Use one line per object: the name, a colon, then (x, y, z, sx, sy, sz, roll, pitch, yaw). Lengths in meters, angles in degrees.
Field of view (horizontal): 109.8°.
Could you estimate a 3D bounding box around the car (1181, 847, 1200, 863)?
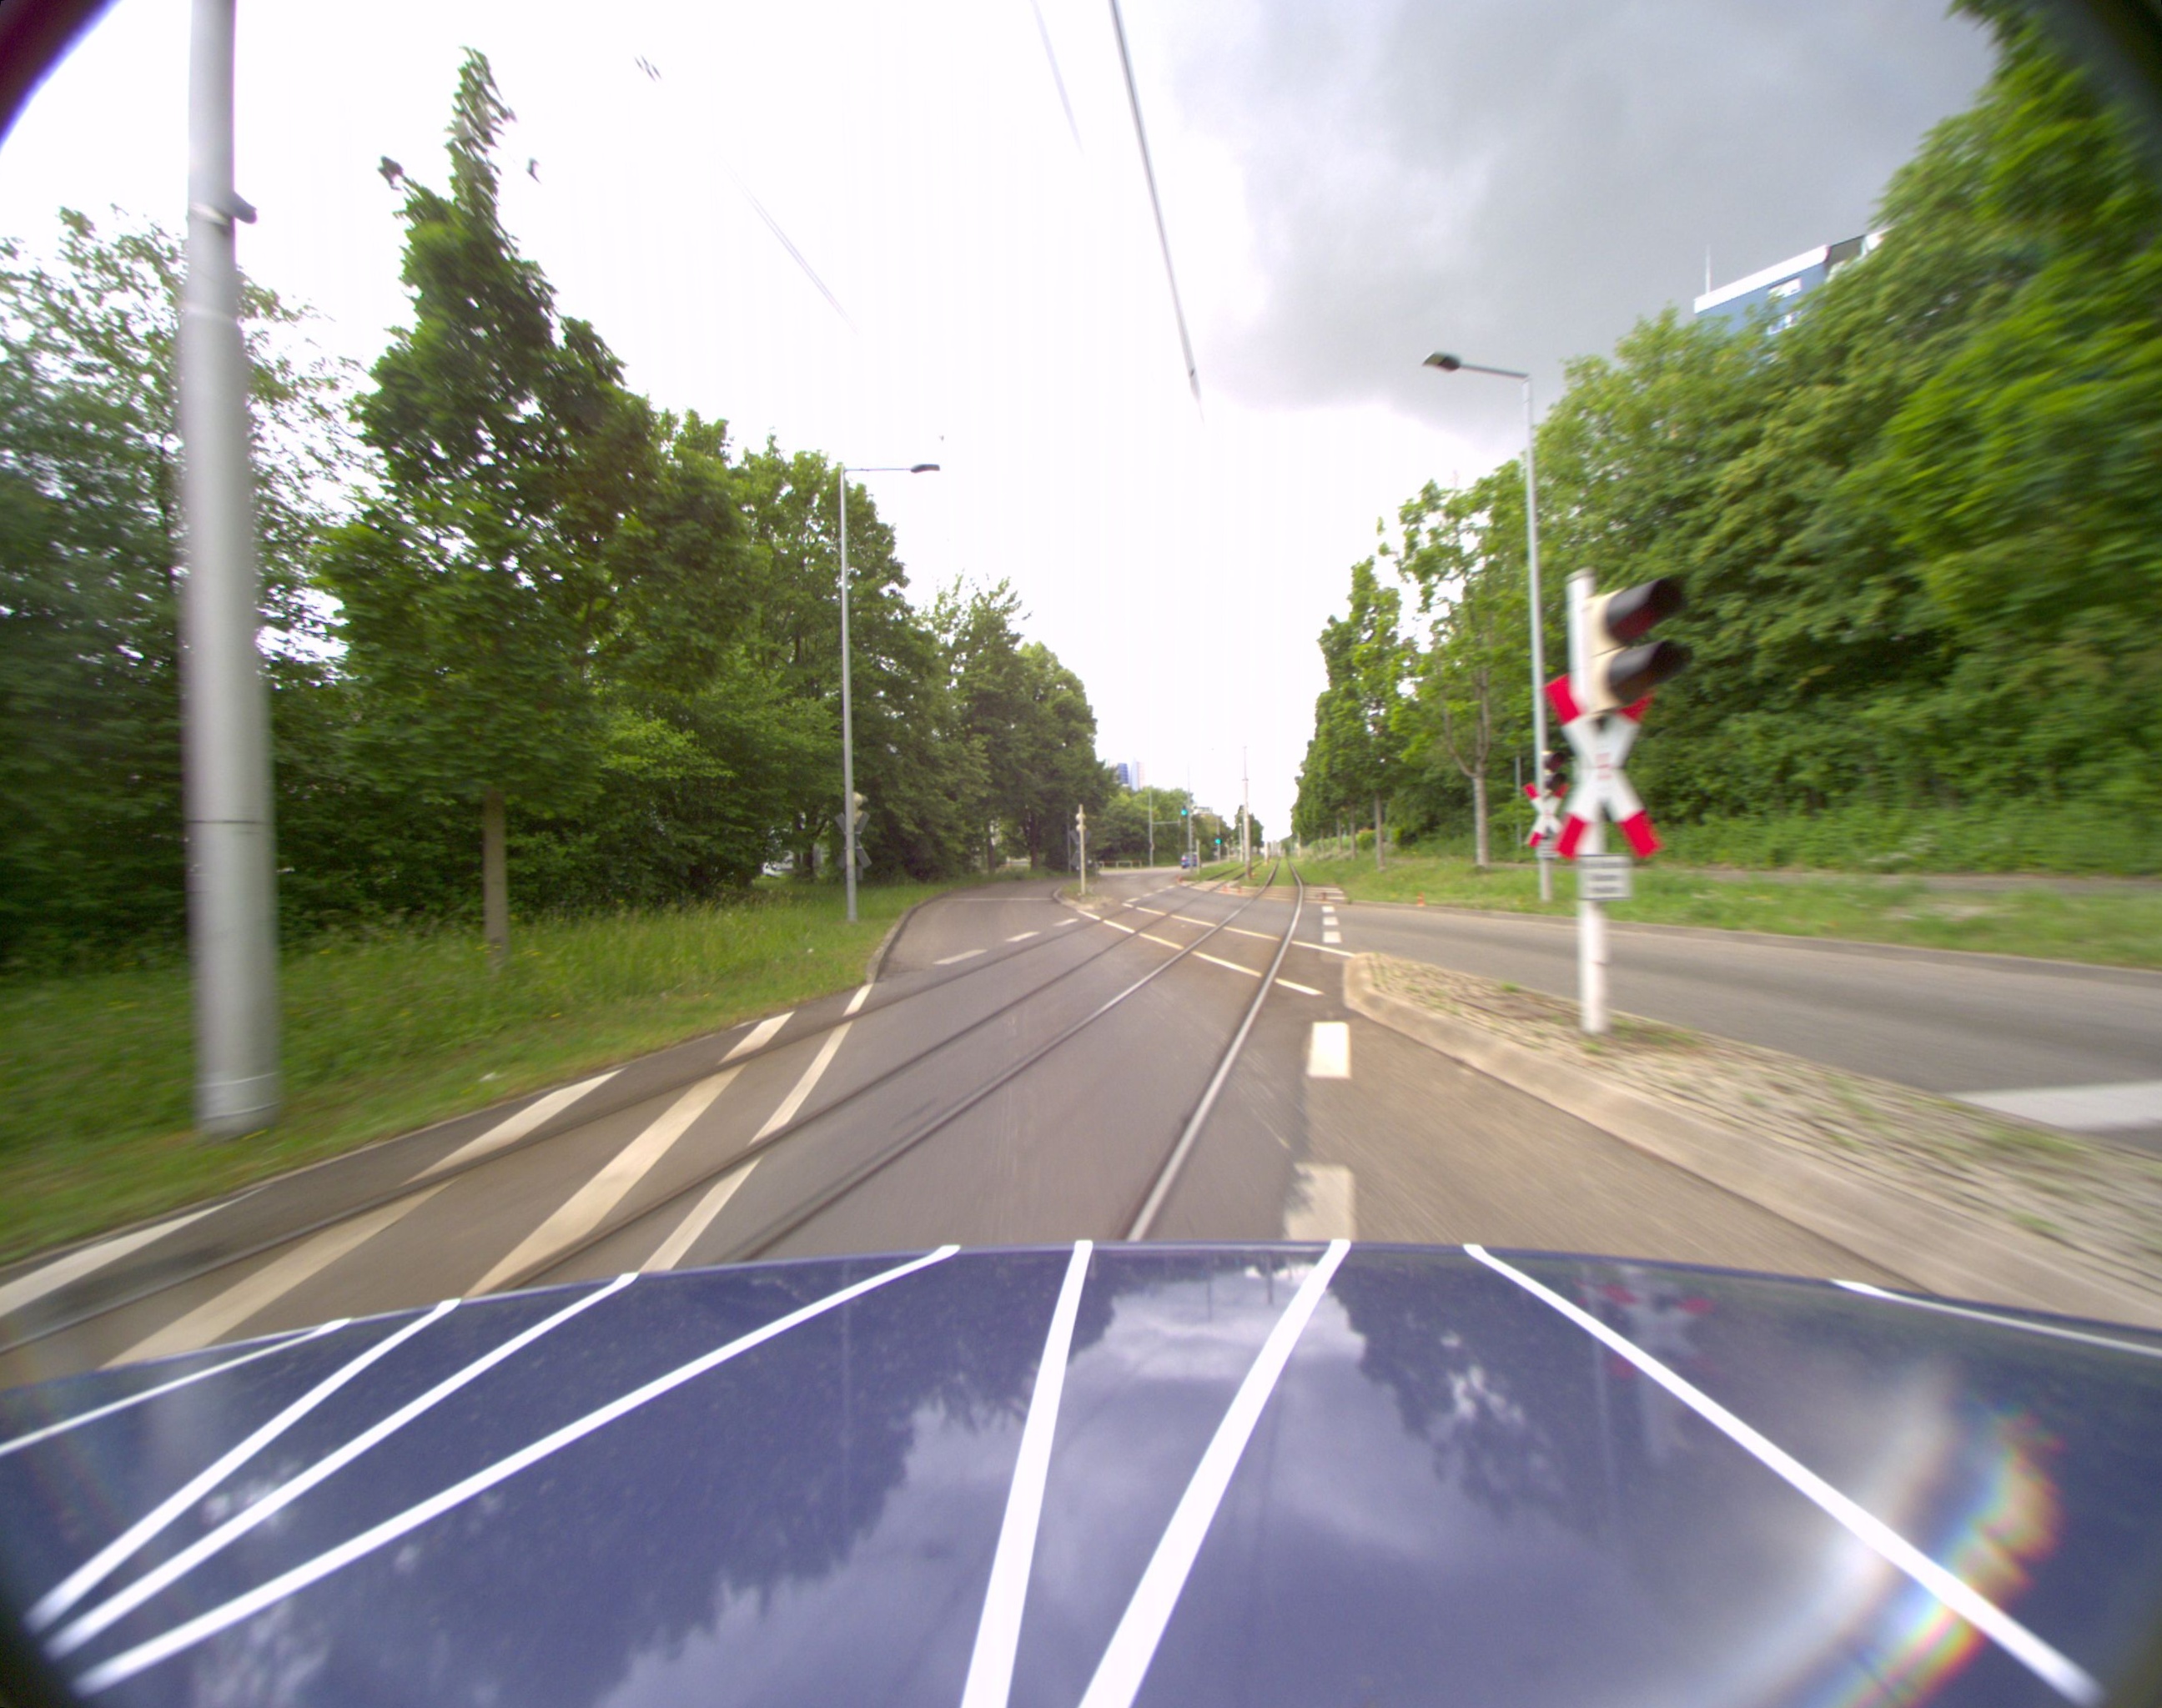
car: (11.425, 0.155, 79.145, 1.870, 1.512, 4.242, -3, -1, 9)
